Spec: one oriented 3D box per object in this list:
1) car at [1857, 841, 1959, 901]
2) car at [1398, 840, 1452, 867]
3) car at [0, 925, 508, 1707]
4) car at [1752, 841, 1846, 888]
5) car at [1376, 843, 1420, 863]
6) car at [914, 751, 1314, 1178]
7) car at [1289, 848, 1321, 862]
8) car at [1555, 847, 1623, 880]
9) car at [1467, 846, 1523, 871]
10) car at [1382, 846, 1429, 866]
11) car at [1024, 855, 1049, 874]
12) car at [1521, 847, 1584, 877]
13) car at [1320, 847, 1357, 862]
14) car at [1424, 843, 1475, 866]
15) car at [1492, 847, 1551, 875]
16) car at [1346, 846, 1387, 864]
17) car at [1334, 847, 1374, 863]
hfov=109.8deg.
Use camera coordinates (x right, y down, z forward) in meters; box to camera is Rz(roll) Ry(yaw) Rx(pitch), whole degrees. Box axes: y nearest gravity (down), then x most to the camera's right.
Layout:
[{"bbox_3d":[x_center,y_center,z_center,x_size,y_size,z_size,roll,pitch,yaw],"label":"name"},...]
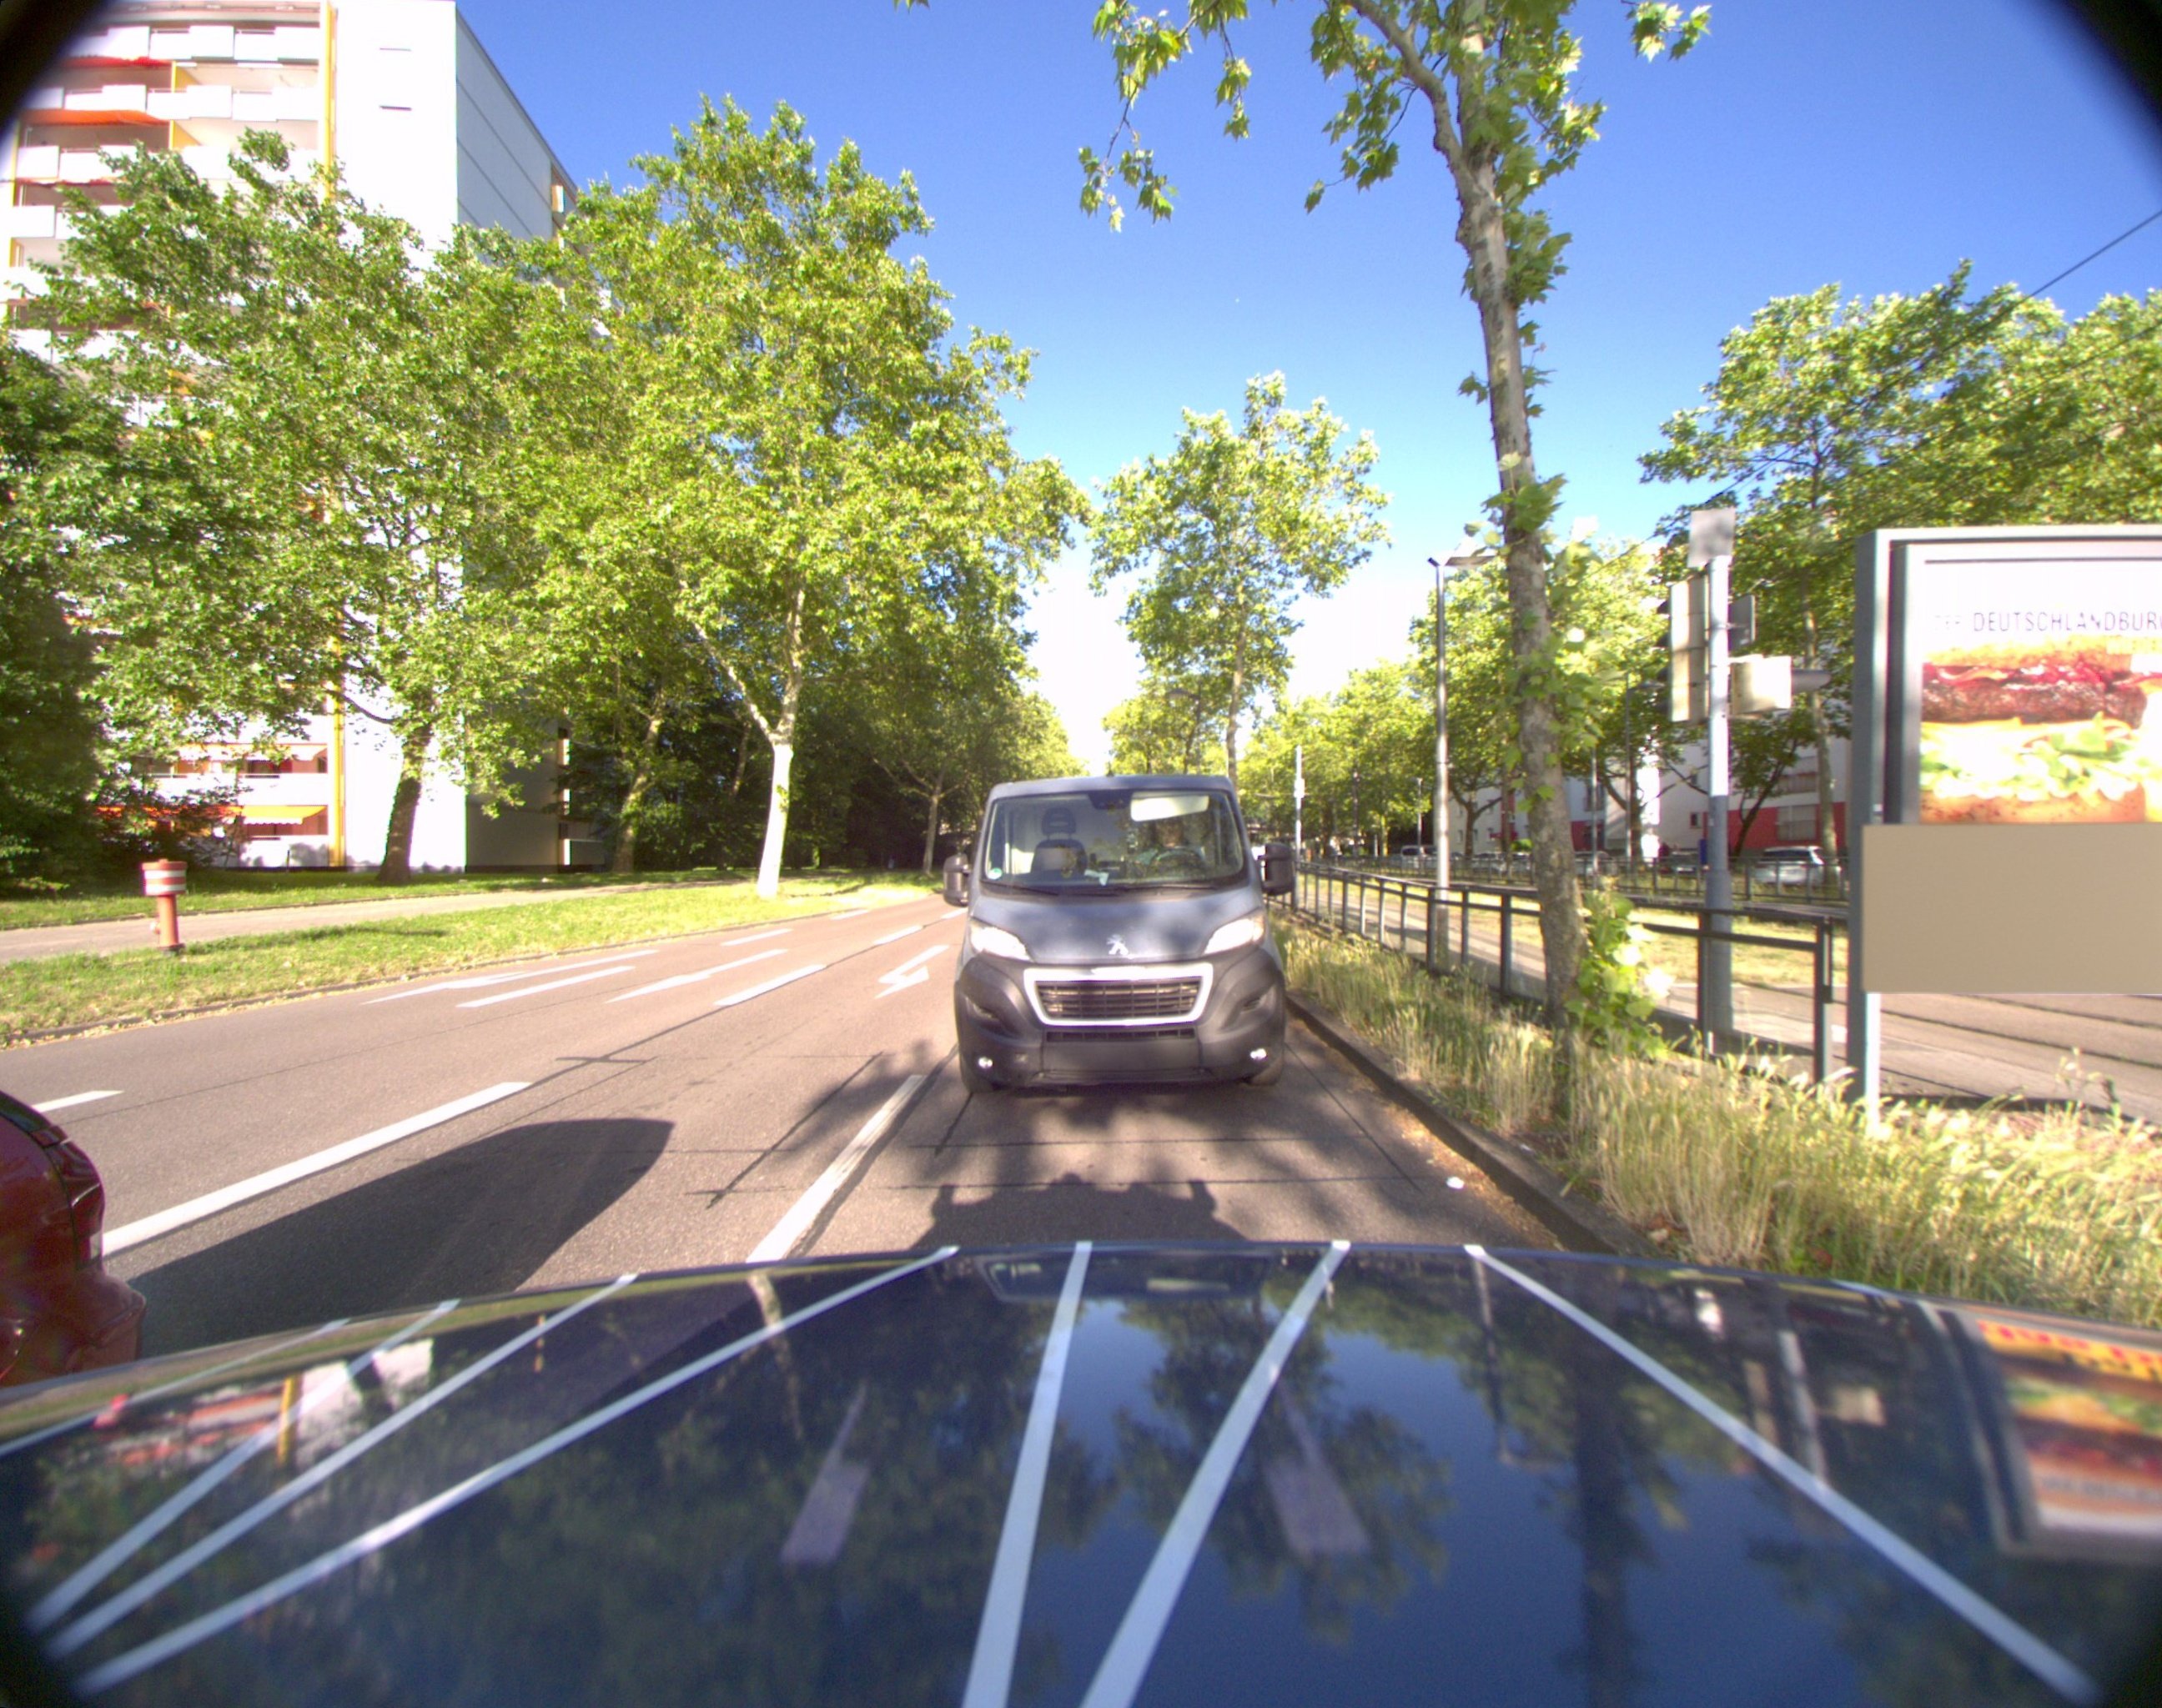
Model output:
[{"bbox_3d":[25.270,0.476,23.179,4.057,1.654,1.791,-1,0,-38],"label":"car"},{"bbox_3d":[25.868,-0.073,57.040,4.441,1.908,2.016,-1,0,-41],"label":"car"},{"bbox_3d":[-2.985,1.026,0.282,1.771,1.549,4.727,-1,0,3],"label":"car"},{"bbox_3d":[25.245,0.354,26.683,4.057,1.490,1.791,-1,0,-38],"label":"car"},{"bbox_3d":[26.584,-0.096,63.679,4.057,1.490,1.791,-1,0,-41],"label":"car"},{"bbox_3d":[0.209,0.561,6.771,2.040,2.191,5.661,-1,0,1],"label":"car"},{"bbox_3d":[26.569,0.084,90.094,4.057,1.490,1.791,-1,0,-41],"label":"car"},{"bbox_3d":[25.395,0.468,37.921,4.057,1.490,1.791,-1,0,-41],"label":"car"},{"bbox_3d":[25.993,0.274,47.683,4.057,1.490,1.791,-1,0,-41],"label":"car"},{"bbox_3d":[25.807,0.135,60.391,4.057,1.490,1.791,-1,0,-41],"label":"car"},{"bbox_3d":[-3.822,0.846,64.473,1.914,1.549,4.724,-1,0,-5],"label":"car"},{"bbox_3d":[25.929,0.424,41.735,4.057,1.490,1.791,-1,0,-41],"label":"car"},{"bbox_3d":[26.928,0.054,79.365,4.057,1.490,1.791,-1,0,-41],"label":"car"},{"bbox_3d":[26.290,0.019,54.158,4.057,1.490,1.791,-1,0,-41],"label":"car"},{"bbox_3d":[26.077,0.411,44.932,4.057,1.490,1.791,-1,0,-41],"label":"car"},{"bbox_3d":[26.074,0.090,69.329,4.057,1.490,1.791,-1,0,-41],"label":"car"},{"bbox_3d":[26.156,0.087,72.706,4.057,1.490,1.791,-1,0,-41],"label":"car"}]
